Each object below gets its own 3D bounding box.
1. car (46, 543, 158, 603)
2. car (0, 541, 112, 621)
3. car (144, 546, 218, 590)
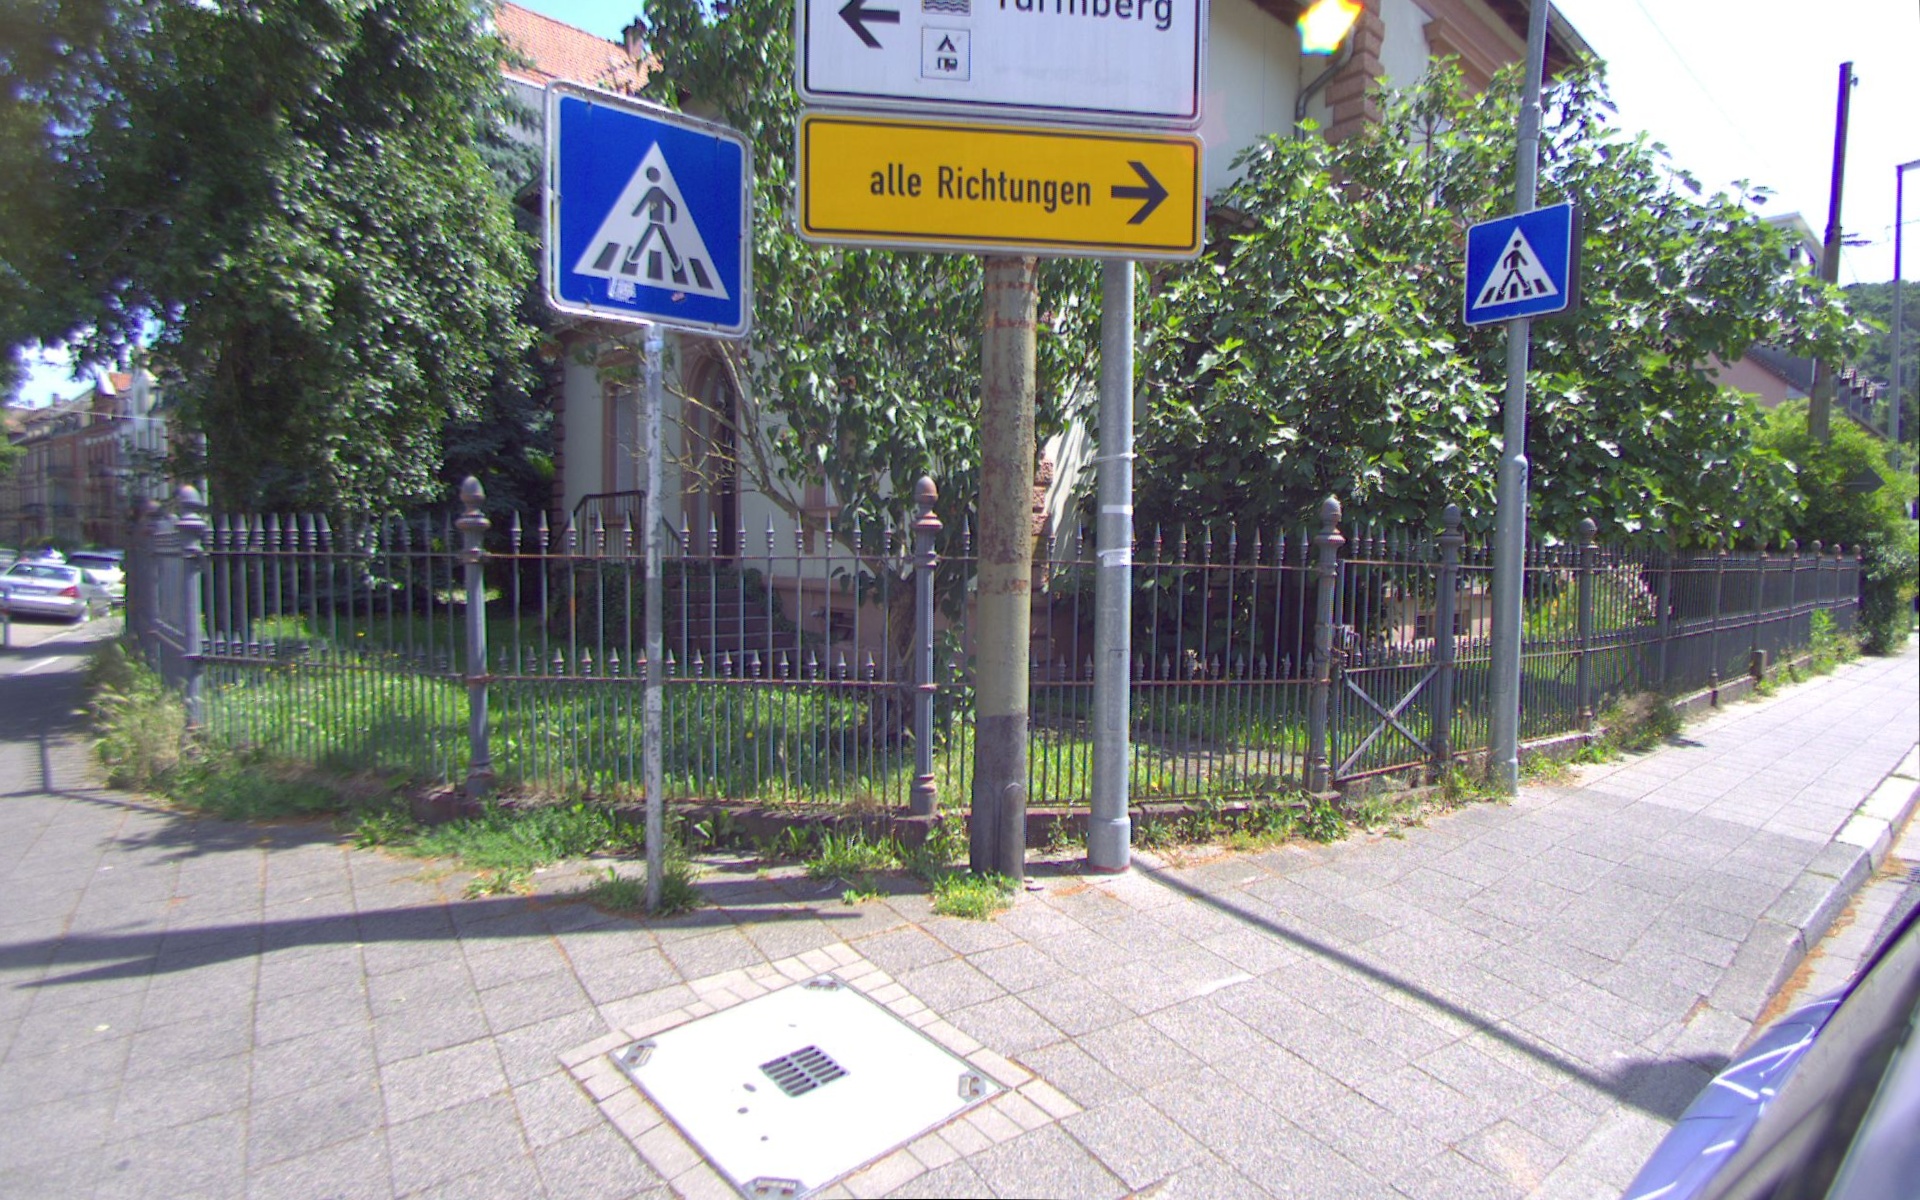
[{"bbox_3d":[-22.589,-0.709,26.778,1.575,1.458,3.734,-3,2,-30],"label":"car"},{"bbox_3d":[-20.215,-0.424,22.371,1.575,1.572,3.734,4,-1,-30],"label":"car"},{"bbox_3d":[-27.828,-1.128,36.236,1.575,1.458,3.734,-3,2,-30],"label":"car"}]
